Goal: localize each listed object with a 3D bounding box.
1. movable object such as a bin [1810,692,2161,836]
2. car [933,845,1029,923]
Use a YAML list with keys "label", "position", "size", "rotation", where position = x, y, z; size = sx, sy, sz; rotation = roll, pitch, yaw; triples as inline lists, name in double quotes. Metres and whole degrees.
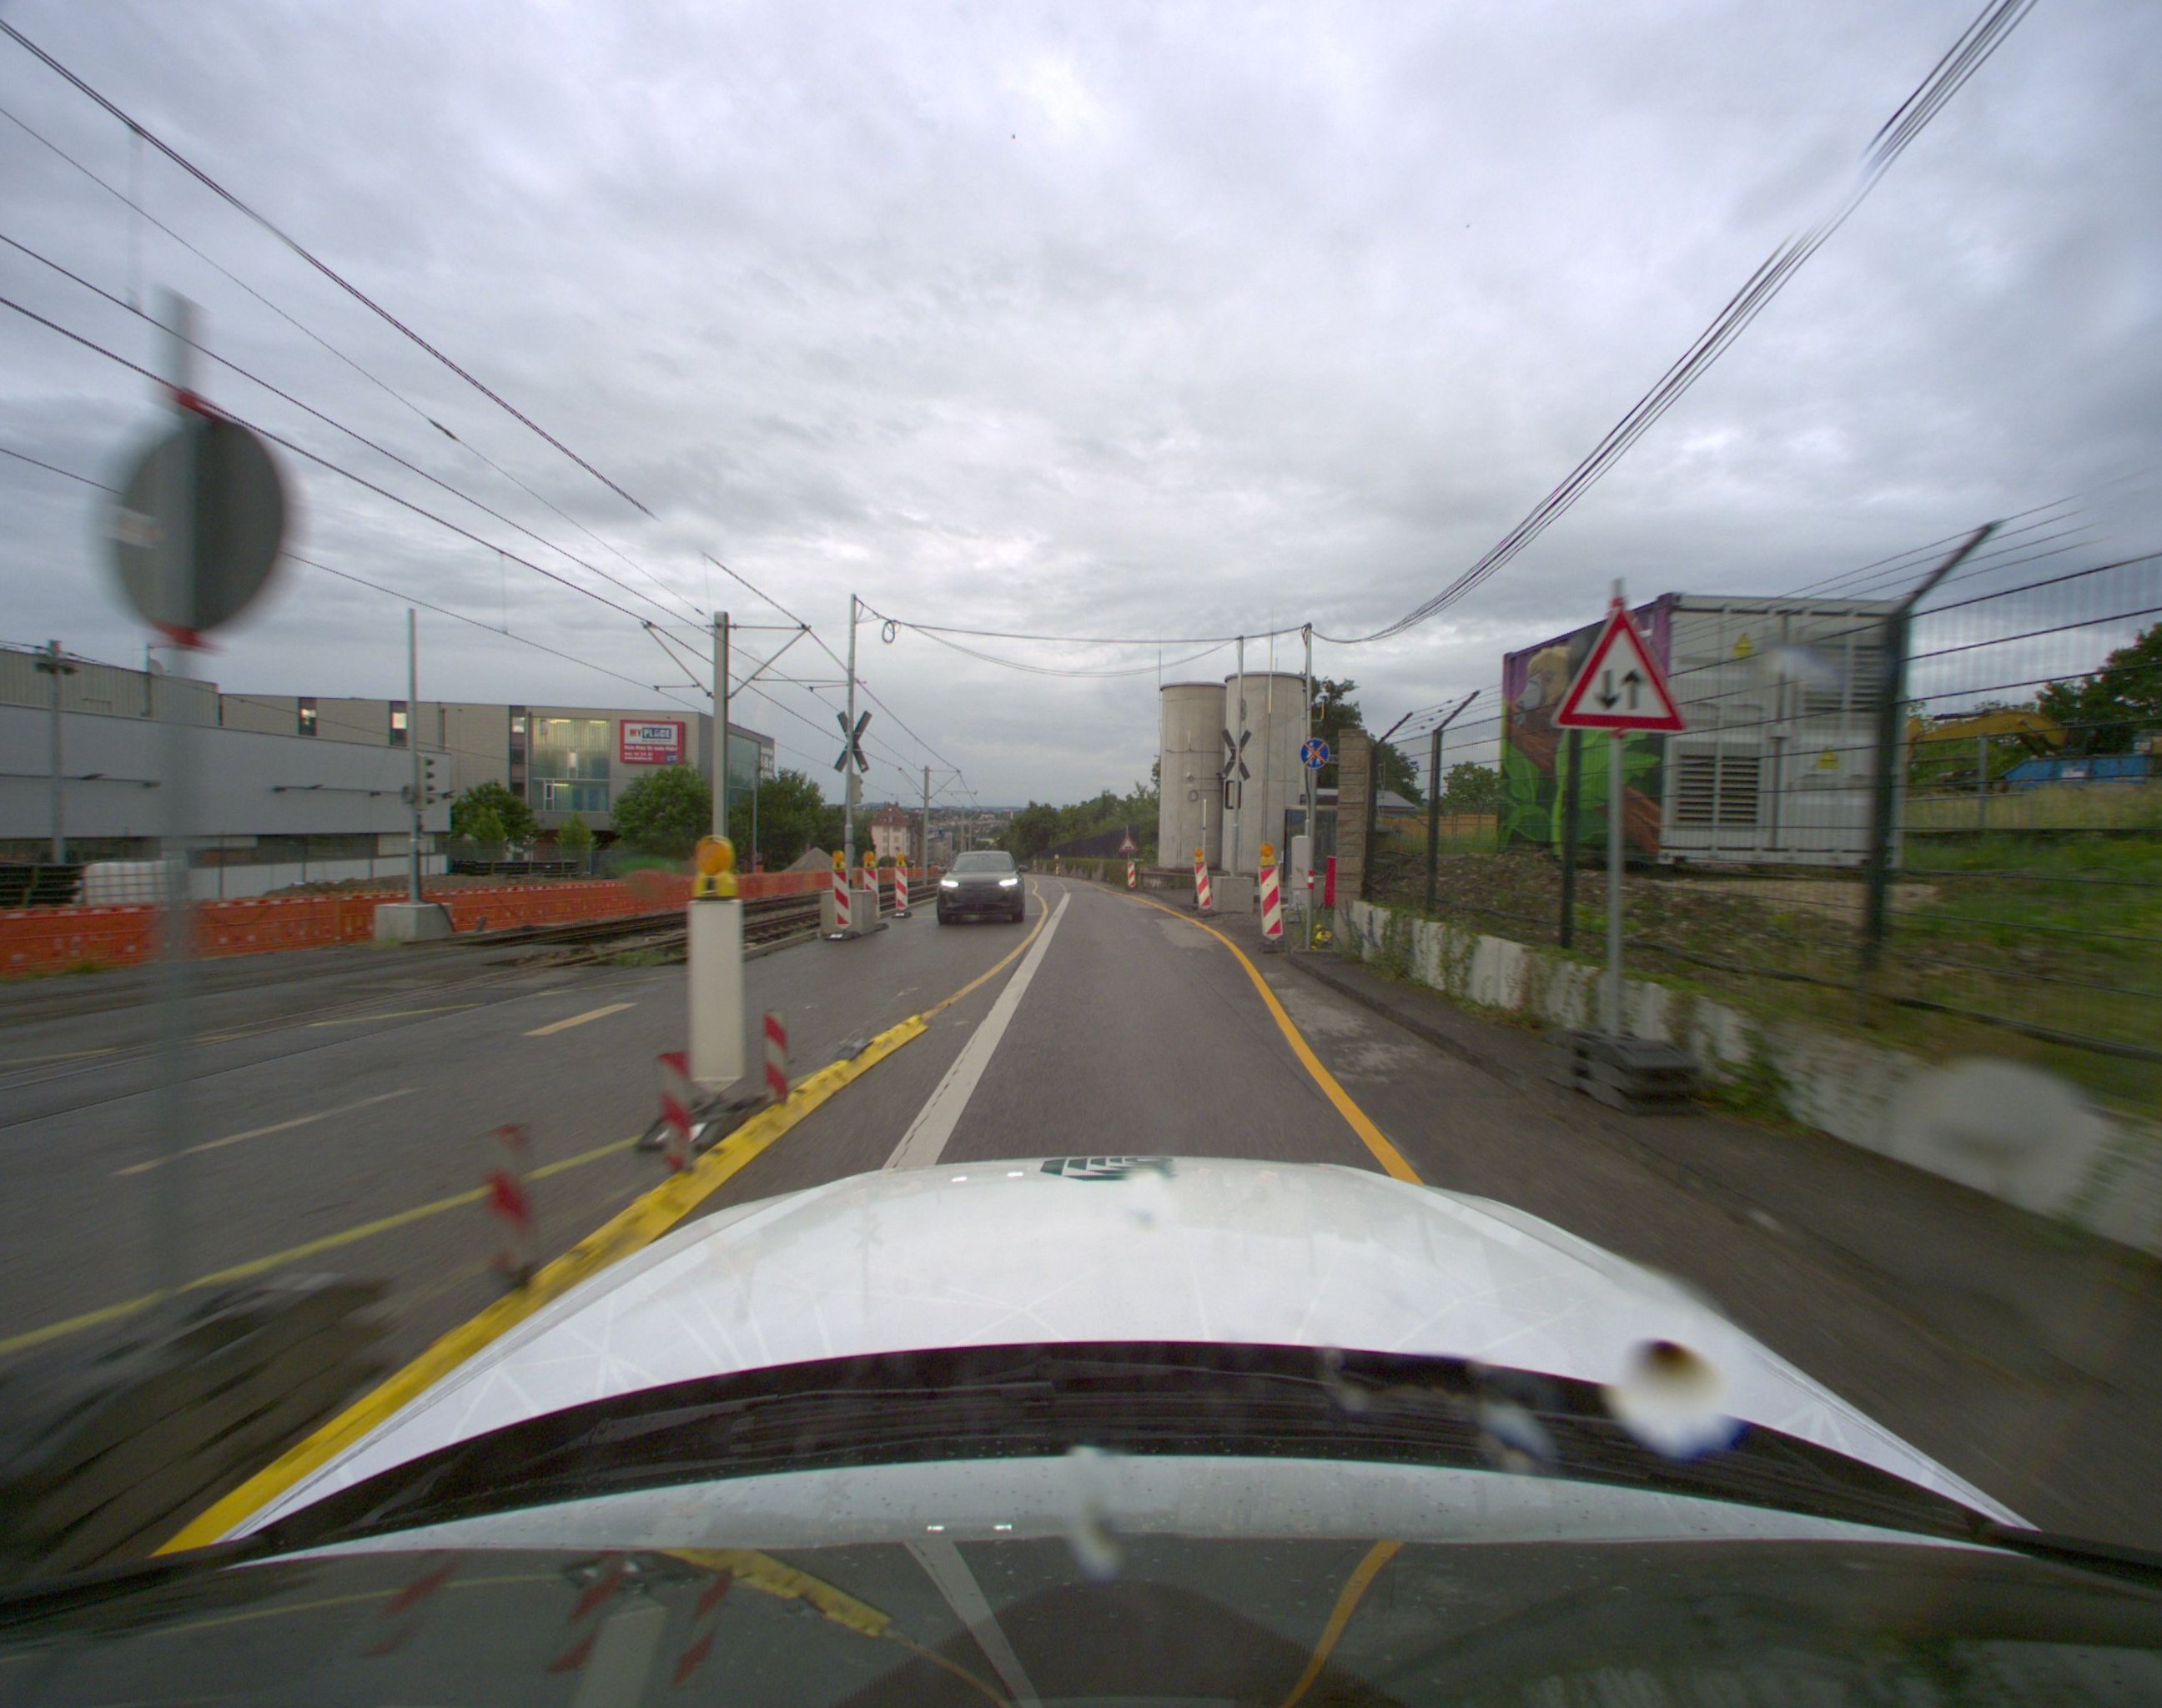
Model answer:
- label: "movable object such as a bin"
  position: [41.146, -3.901, 37.455]
  size: [11.159, 5.995, 3.502]
  rotation: [0, 0, 11]
- label: "car"
  position: [-2.333, 0.641, 20.057]
  size: [1.989, 1.678, 4.484]
  rotation: [0, 0, -3]
